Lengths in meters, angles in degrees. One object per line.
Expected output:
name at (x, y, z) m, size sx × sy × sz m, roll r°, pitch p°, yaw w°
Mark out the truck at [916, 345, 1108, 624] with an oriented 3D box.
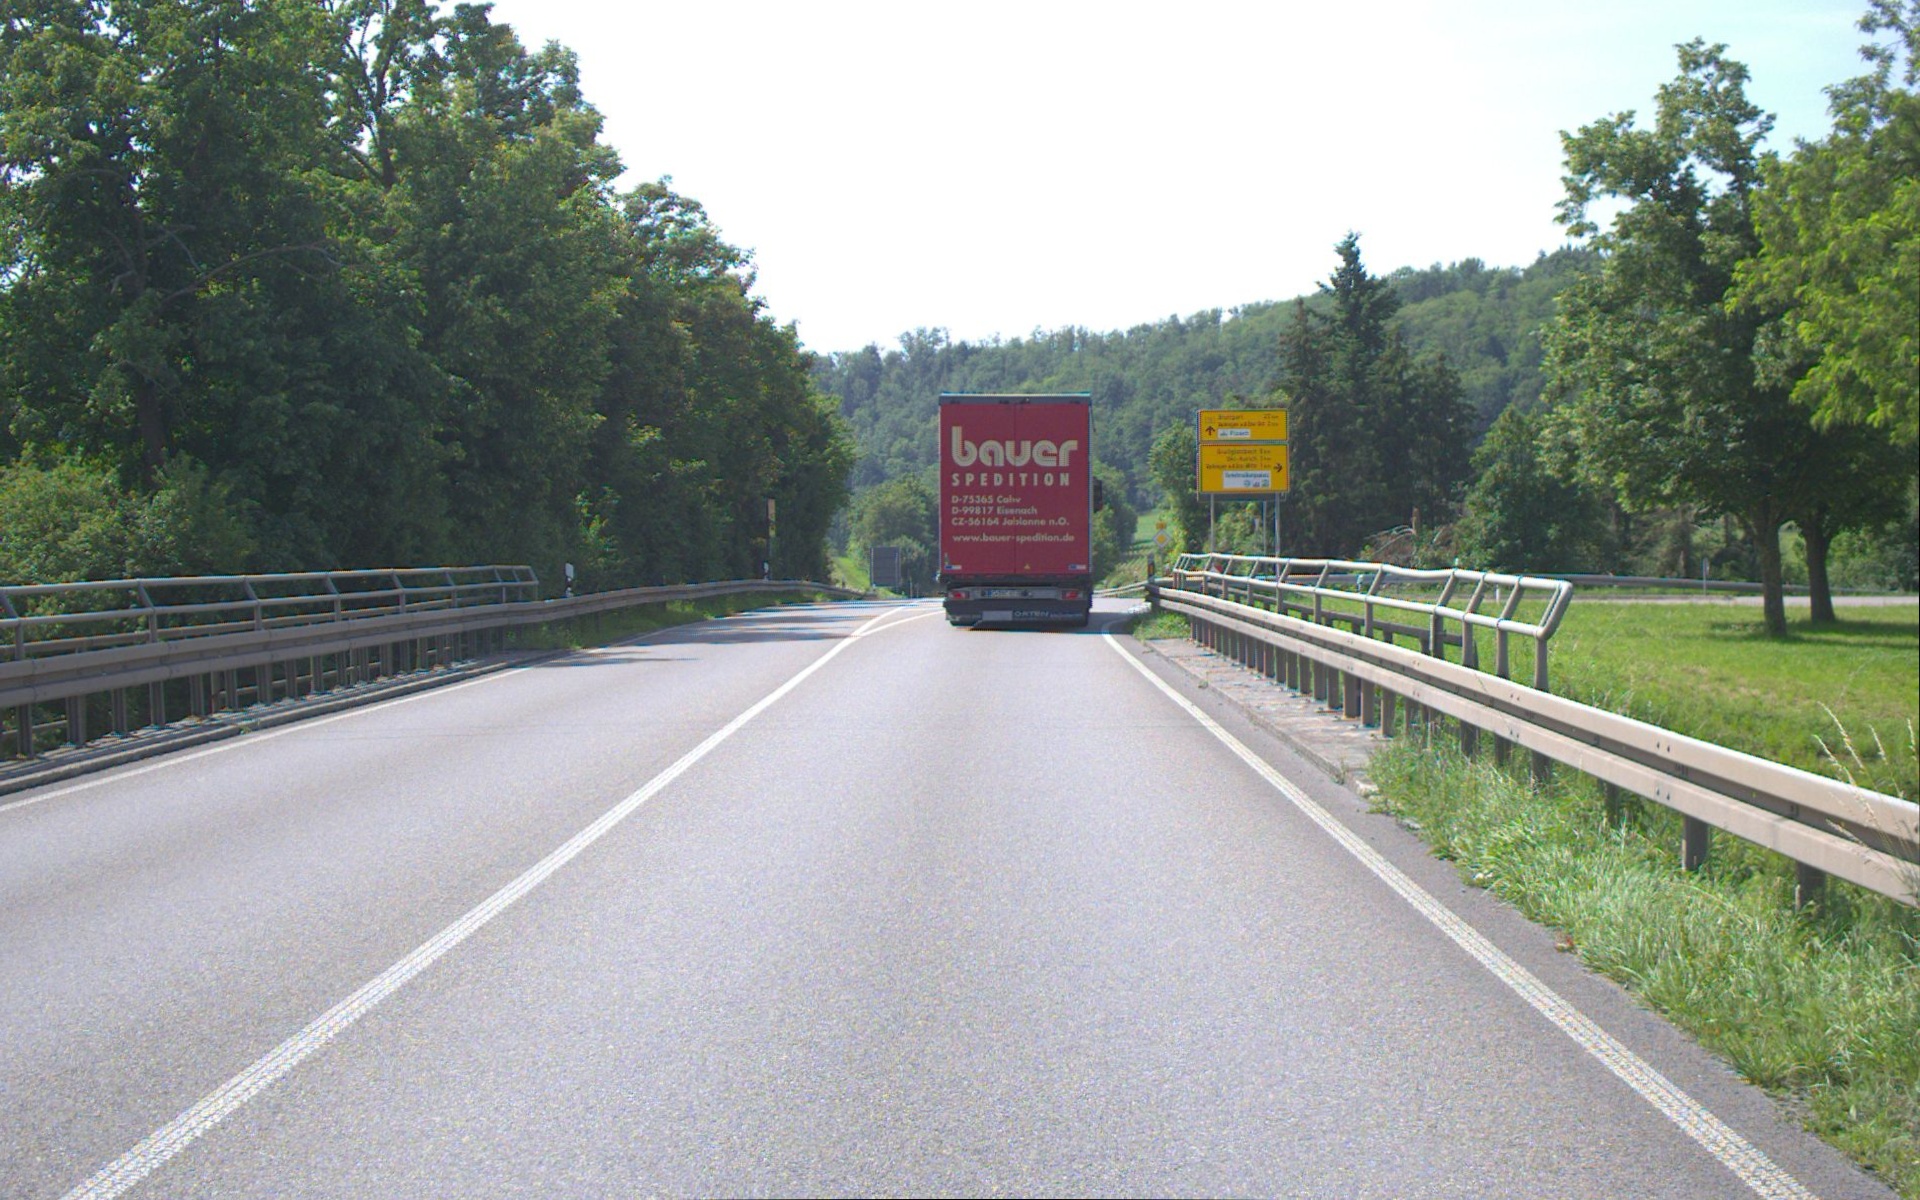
truck at (1.031, -2.070, 63.971) m, size 3.172 × 4.609 × 13.544 m, roll 0°, pitch 1°, yaw 1°
